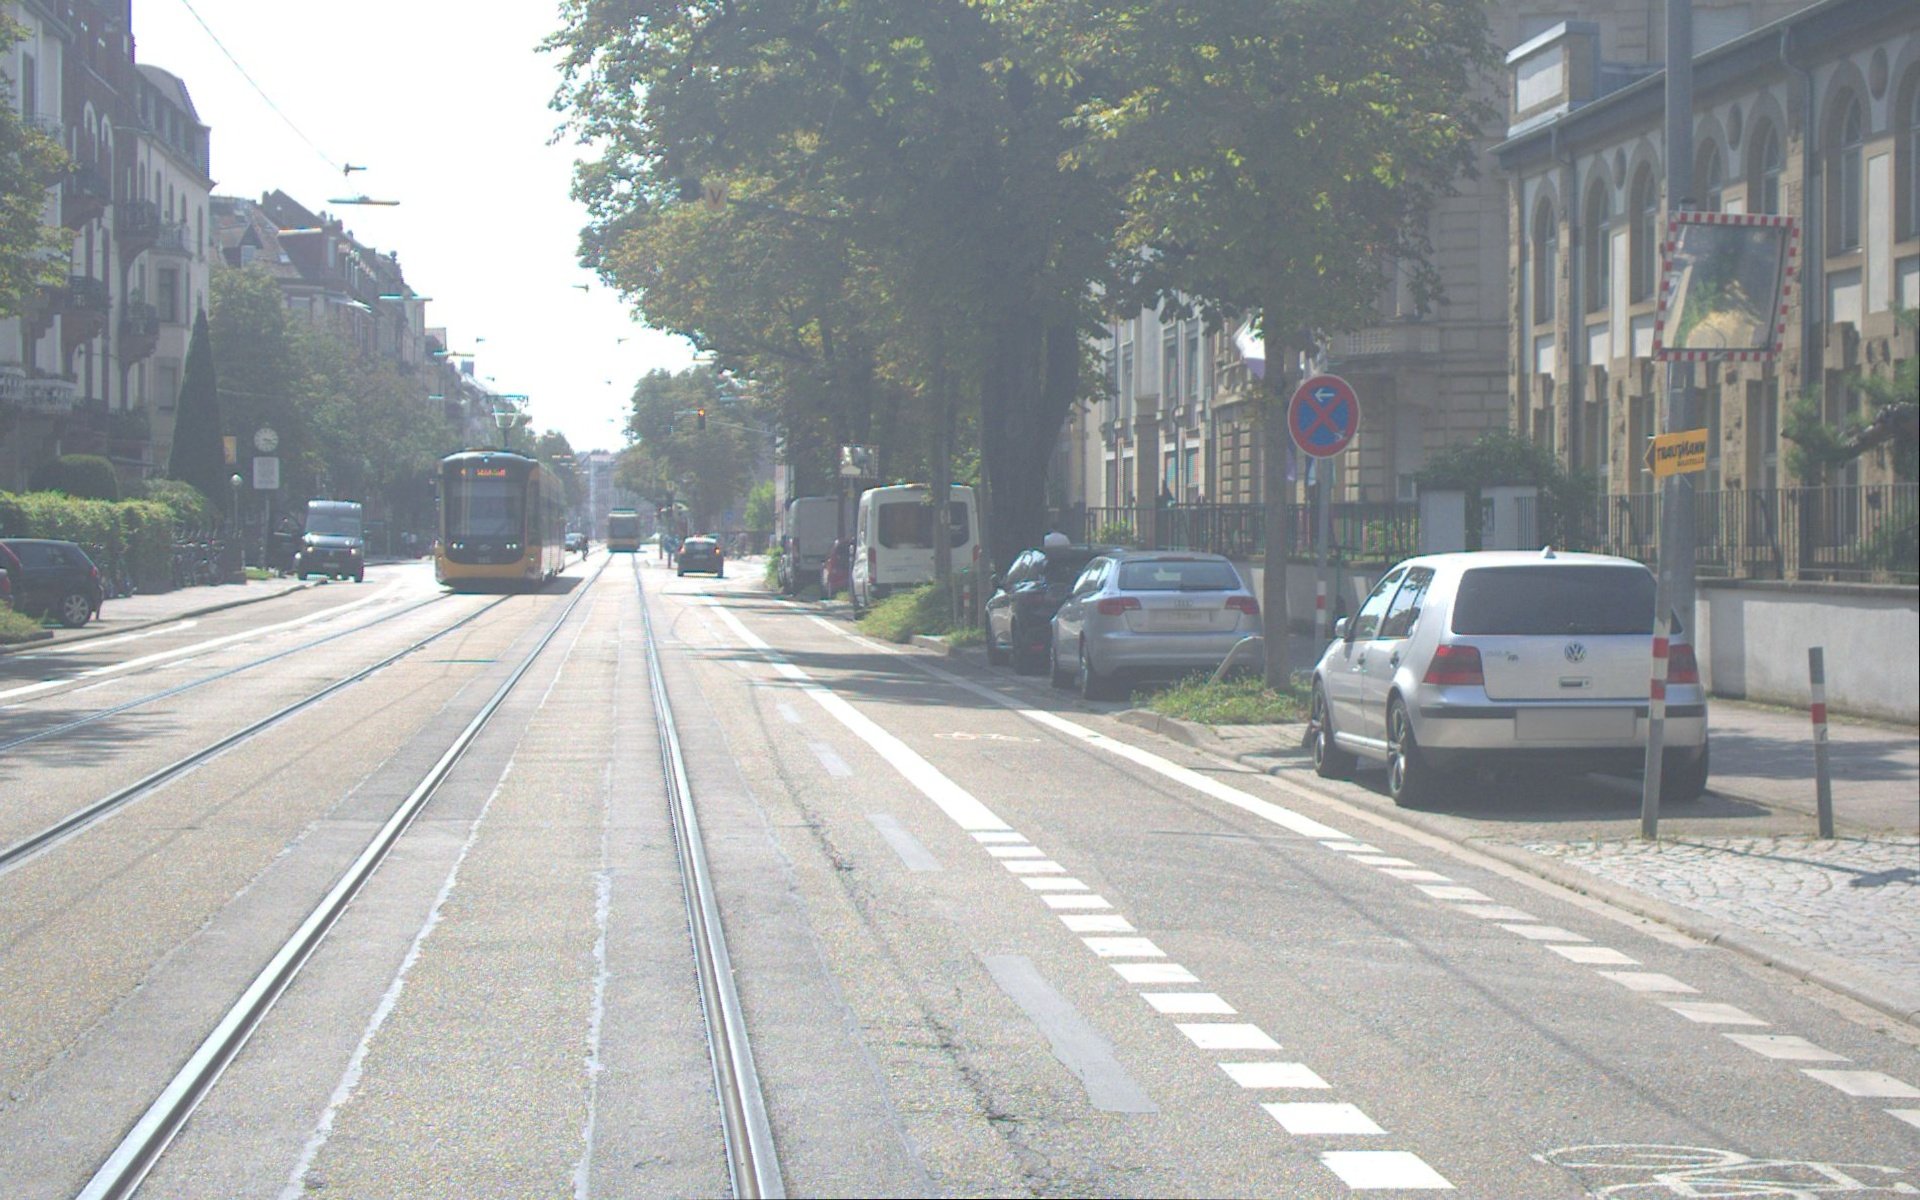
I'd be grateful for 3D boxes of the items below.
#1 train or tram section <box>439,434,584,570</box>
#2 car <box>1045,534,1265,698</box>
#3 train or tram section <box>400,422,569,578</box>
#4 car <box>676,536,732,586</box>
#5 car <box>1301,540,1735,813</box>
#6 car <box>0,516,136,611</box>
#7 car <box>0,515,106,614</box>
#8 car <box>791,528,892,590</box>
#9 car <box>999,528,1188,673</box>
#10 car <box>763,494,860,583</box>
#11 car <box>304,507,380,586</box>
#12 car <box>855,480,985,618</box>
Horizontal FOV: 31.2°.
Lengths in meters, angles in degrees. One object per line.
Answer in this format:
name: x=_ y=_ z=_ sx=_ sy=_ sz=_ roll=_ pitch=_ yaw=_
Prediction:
train or tram section: x=-13.103 y=-2.877 z=101.425 sx=3.496 sy=3.691 sz=12.415 roll=1 pitch=1 yaw=-4
car: x=1.869 y=0.126 z=33.881 sx=1.640 sy=1.506 sz=3.642 roll=1 pitch=1 yaw=-5
train or tram section: x=-12.163 y=-2.573 z=89.052 sx=3.496 sy=3.691 sz=12.415 roll=1 pitch=1 yaw=-4
car: x=-9.513 y=-1.451 z=127.709 sx=1.993 sy=1.795 sz=4.001 roll=1 pitch=1 yaw=-5
car: x=3.187 y=0.378 z=20.337 sx=1.791 sy=1.441 sz=3.733 roll=-1 pitch=1 yaw=-3
car: x=-15.982 y=-0.620 z=58.263 sx=1.675 sy=1.569 sz=3.577 roll=1 pitch=1 yaw=44
car: x=-15.772 y=-0.580 z=55.363 sx=1.675 sy=1.569 sz=3.577 roll=1 pitch=1 yaw=44
car: x=-2.825 y=-0.980 z=81.141 sx=1.993 sy=1.393 sz=4.001 roll=0 pitch=1 yaw=-8
car: x=1.486 y=-0.037 z=39.769 sx=1.794 sy=1.571 sz=4.001 roll=0 pitch=1 yaw=-3
car: x=-3.852 y=-1.589 z=88.467 sx=1.993 sy=2.226 sz=4.001 roll=0 pitch=1 yaw=-10
car: x=-19.699 y=-1.722 z=109.734 sx=2.241 sy=2.433 sz=4.001 roll=1 pitch=1 yaw=-9
car: x=-0.752 y=-0.916 z=61.443 sx=1.993 sy=2.357 sz=4.001 roll=1 pitch=1 yaw=-5
